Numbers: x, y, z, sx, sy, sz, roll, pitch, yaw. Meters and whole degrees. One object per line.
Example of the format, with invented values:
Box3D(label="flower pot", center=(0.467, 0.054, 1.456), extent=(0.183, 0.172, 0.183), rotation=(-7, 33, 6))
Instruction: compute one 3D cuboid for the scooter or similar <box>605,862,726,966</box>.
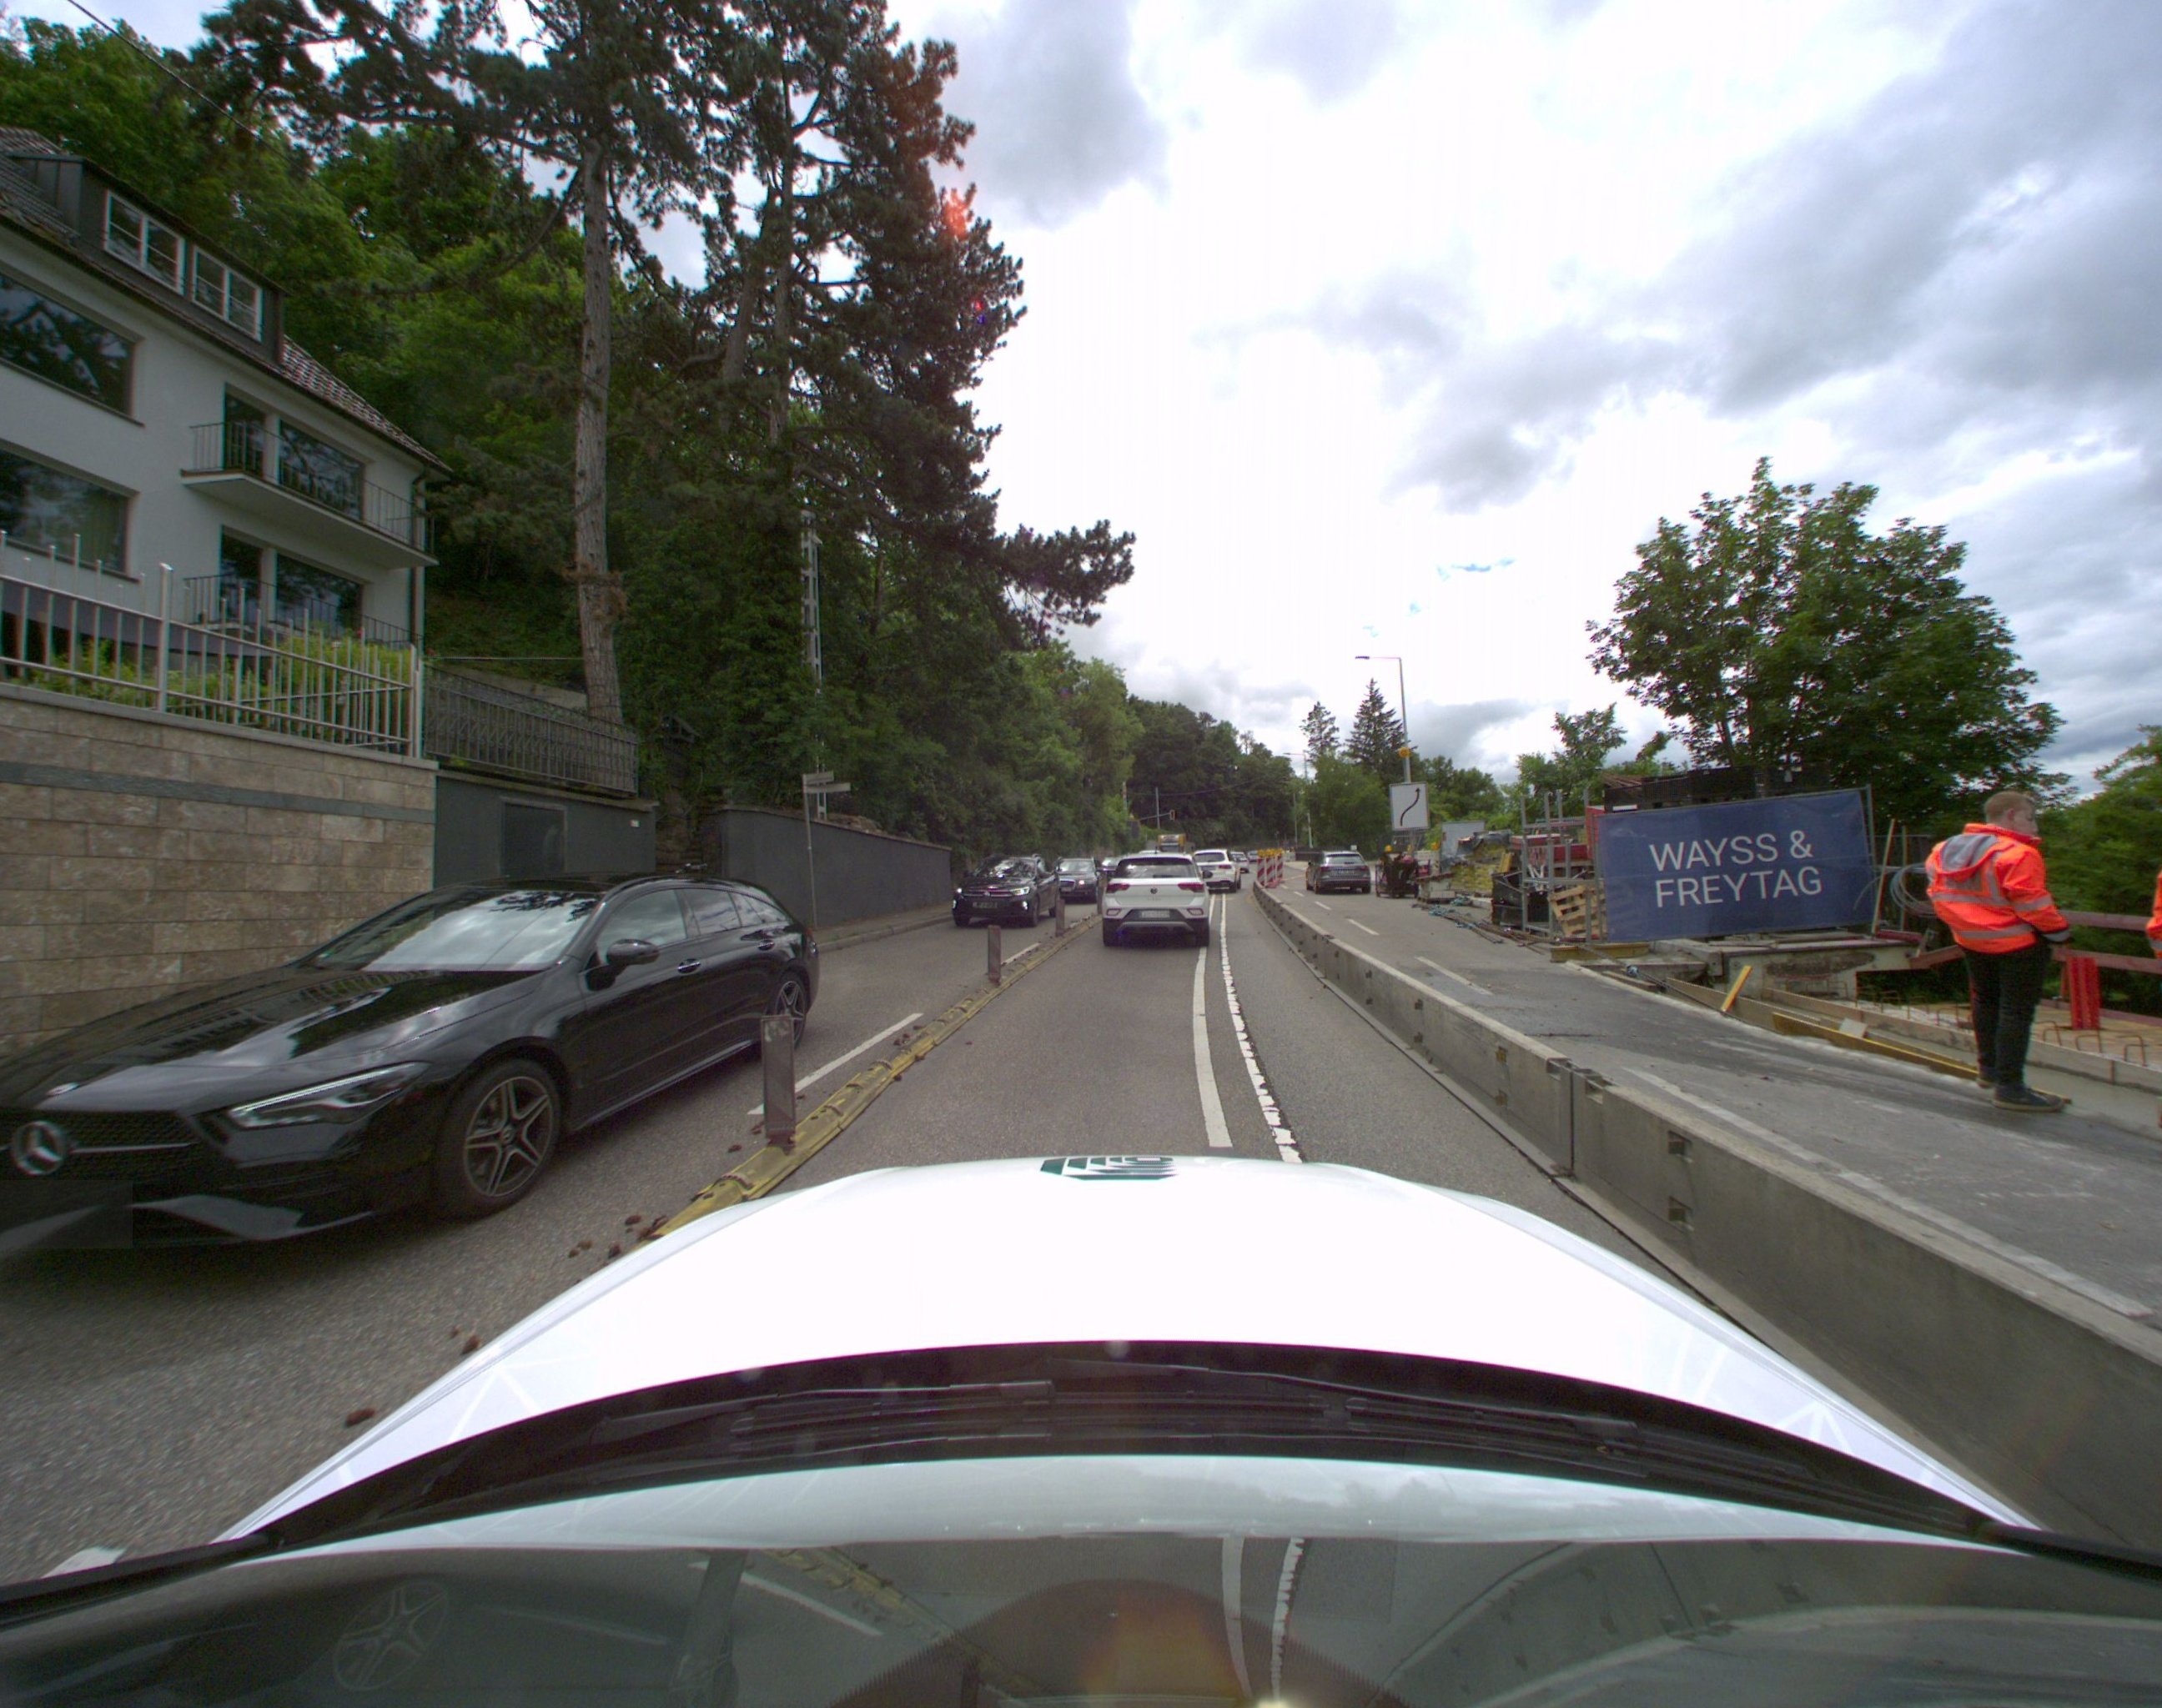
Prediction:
Box3D(label="scooter or similar", center=(-5.303, 0.745, 10.464), extent=(1.312, 1.255, 0.464), rotation=(-1, 0, -18))

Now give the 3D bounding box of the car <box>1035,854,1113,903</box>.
Box3D(label="car", center=(-0.124, 0.745, 26.490), extent=(1.756, 1.452, 4.321), rotation=(0, 0, 10))

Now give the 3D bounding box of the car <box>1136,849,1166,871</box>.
Box3D(label="car", center=(4.849, 0.412, 55.743), extent=(1.757, 1.452, 4.319), rotation=(0, 0, 9))

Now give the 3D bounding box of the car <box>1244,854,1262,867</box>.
Box3D(label="car", center=(19.730, 0.765, 93.748), extent=(1.784, 1.368, 4.010), rotation=(-2, 0, 9))

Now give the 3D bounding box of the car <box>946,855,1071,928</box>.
Box3D(label="car", center=(-1.490, 0.755, 18.492), extent=(1.756, 1.452, 4.321), rotation=(0, 0, 10))

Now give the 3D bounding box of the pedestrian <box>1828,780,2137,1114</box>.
Box3D(label="pedestrian", center=(5.408, 0.511, 4.954), extent=(0.874, 1.822, 0.877), rotation=(-1, 0, -4))

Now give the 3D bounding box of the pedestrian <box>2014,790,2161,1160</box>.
Box3D(label="pedestrian", center=(5.479, 0.558, 3.952), extent=(0.874, 1.731, 0.877), rotation=(-1, 0, -4))

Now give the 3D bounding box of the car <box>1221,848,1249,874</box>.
Box3D(label="car", center=(10.639, 0.422, 56.126), extent=(1.798, 1.663, 4.013), rotation=(-2, 0, 12))

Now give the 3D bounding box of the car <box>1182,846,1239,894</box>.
Box3D(label="car", center=(5.038, 0.555, 31.307), extent=(1.797, 1.663, 4.015), rotation=(-2, 0, 13))

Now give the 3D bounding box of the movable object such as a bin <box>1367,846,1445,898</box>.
Box3D(label="movable object such as a bin", center=(9.547, 0.507, 24.002), extent=(1.393, 1.425, 1.902), rotation=(-1, 0, -6))

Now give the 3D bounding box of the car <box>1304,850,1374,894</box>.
Box3D(label="car", center=(8.795, 0.566, 28.071), extent=(1.783, 1.368, 4.012), rotation=(-2, 0, 11))

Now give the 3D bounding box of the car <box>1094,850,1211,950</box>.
Box3D(label="car", center=(1.399, 0.706, 14.705), extent=(1.799, 1.531, 4.009), rotation=(0, 0, 8))

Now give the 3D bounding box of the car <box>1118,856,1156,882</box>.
Box3D(label="car", center=(3.259, 0.821, 46.761), extent=(1.756, 1.452, 4.321), rotation=(0, 0, 10))

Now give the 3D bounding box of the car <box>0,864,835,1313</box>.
Box3D(label="car", center=(-3.232, 0.807, 4.938), extent=(1.758, 1.435, 4.316), rotation=(0, 0, 6))

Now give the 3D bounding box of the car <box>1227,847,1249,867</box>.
Box3D(label="car", center=(13.762, 0.260, 71.641), extent=(1.799, 1.663, 4.011), rotation=(-2, 0, 10))

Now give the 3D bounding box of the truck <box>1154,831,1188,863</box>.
Box3D(label="truck", center=(9.683, -0.671, 87.340), extent=(2.885, 3.155, 7.607), rotation=(-2, -1, 11))

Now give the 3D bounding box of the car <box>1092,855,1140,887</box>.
Box3D(label="car", center=(1.772, 0.791, 39.414), extent=(1.756, 1.452, 4.321), rotation=(0, 0, 10))
